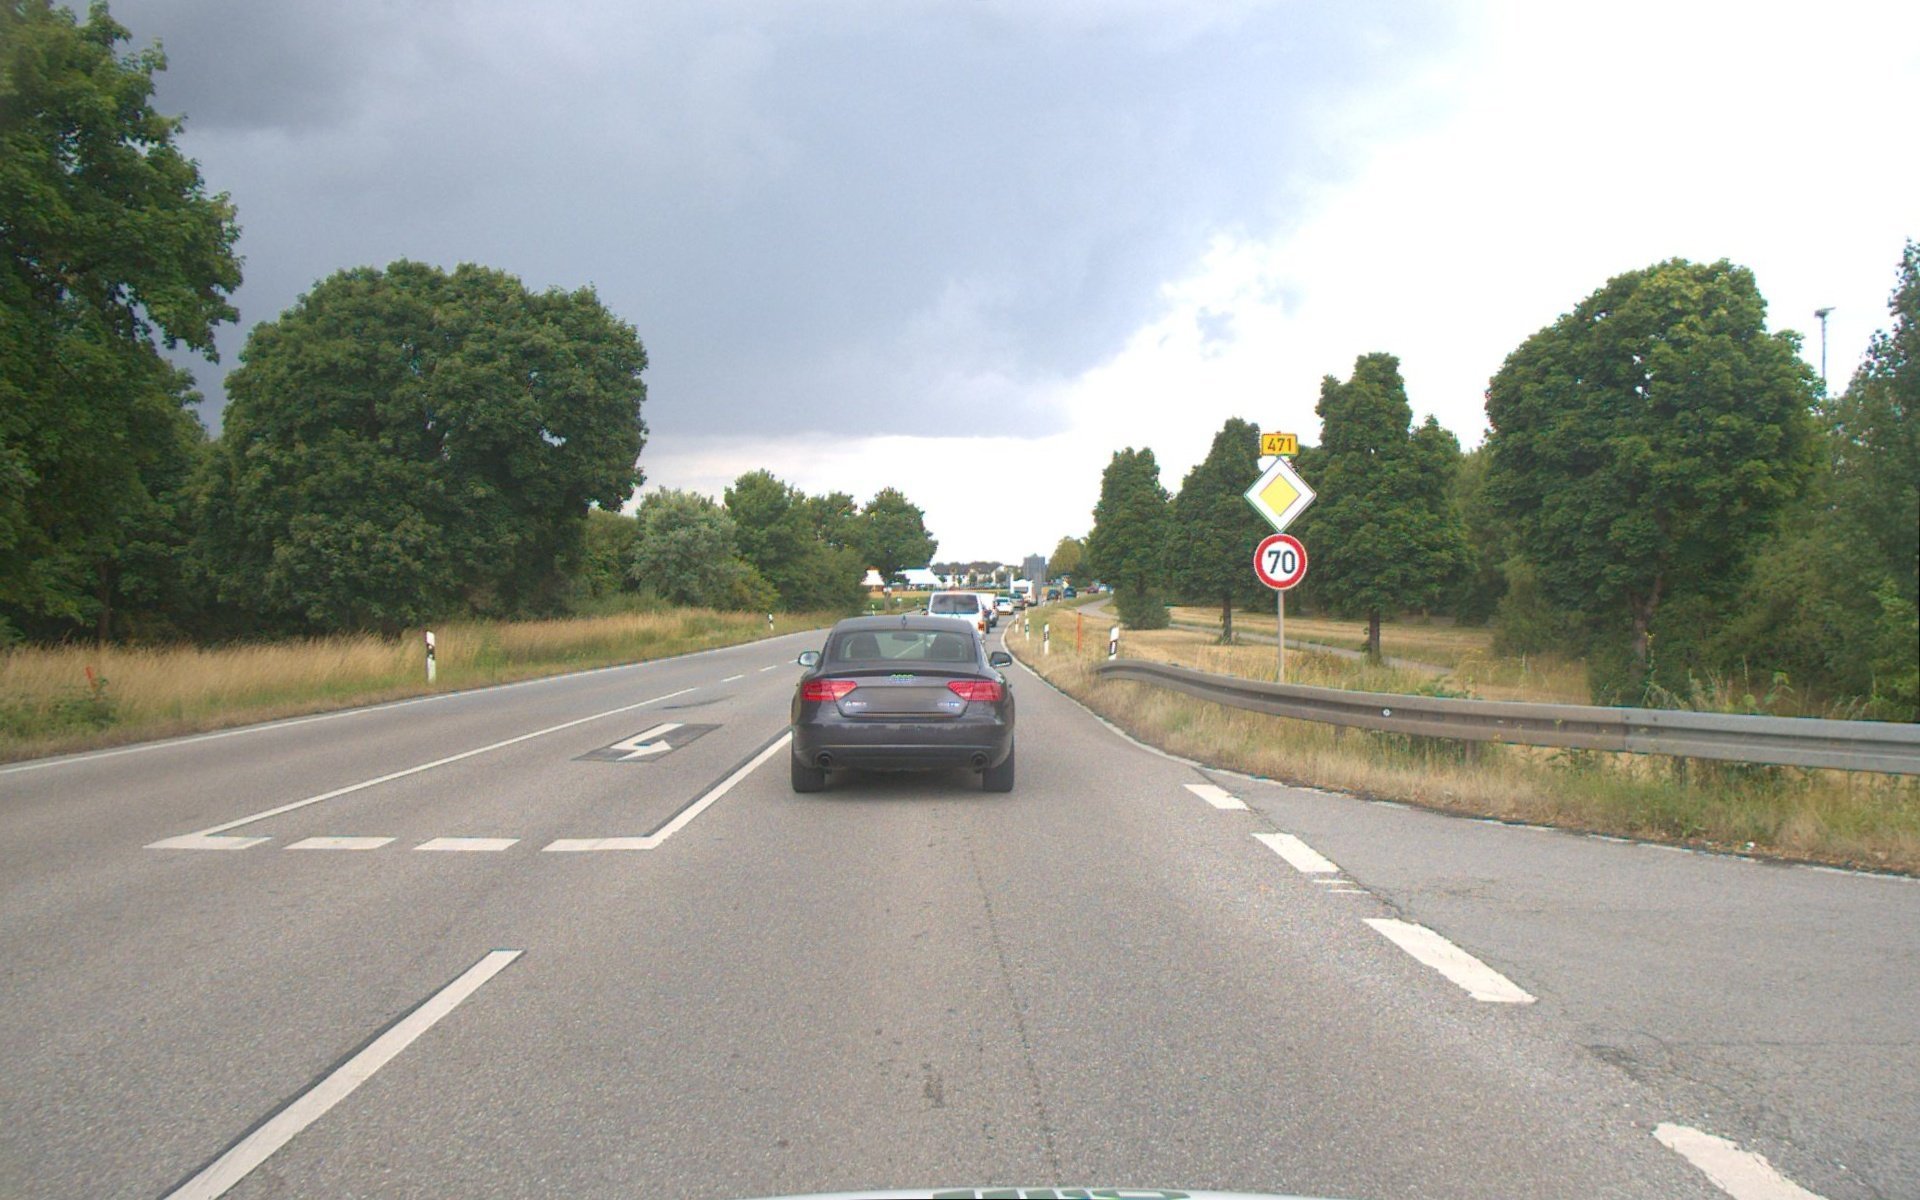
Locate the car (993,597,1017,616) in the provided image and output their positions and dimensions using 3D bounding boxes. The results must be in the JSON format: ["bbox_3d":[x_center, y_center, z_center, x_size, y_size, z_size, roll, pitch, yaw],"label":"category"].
[{"bbox_3d":[3.690,0.538,135.617,1.699,1.541,3.749,0,0,5],"label":"car"}]

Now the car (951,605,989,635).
[{"bbox_3d":[0.525,1.022,84.090,1.758,1.489,3.249,0,0,3],"label":"car"}]

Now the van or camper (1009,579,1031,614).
[{"bbox_3d":[6.239,-0.364,171.453,2.292,3.542,5.720,0,0,2],"label":"van or camper"}]

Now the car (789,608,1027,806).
[{"bbox_3d":[-0.419,0.804,14.214,1.746,1.400,3.999,1,0,-1],"label":"car"}]

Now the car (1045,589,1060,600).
[{"bbox_3d":[12.067,-0.710,215.405,1.684,1.477,4.000,1,0,0],"label":"car"}]

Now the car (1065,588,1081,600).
[{"bbox_3d":[15.294,-0.772,223.889,1.784,1.624,4.000,1,0,0],"label":"car"}]

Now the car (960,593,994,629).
[{"bbox_3d":[1.024,0.658,99.365,1.952,2.125,4.001,0,0,2],"label":"car"}]

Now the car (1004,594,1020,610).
[{"bbox_3d":[4.807,0.183,152.193,1.231,1.377,3.468,0,0,5],"label":"car"}]

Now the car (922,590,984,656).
[{"bbox_3d":[-0.242,0.657,50.413,1.801,1.915,3.999,1,0,-1],"label":"car"}]

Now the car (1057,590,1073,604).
[{"bbox_3d":[15.223,-0.445,239.693,1.953,2.049,3.999,0,0,-1],"label":"car"}]

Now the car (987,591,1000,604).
[{"bbox_3d":[4.524,-0.325,224.222,1.562,1.834,3.200,1,0,0],"label":"car"}]
